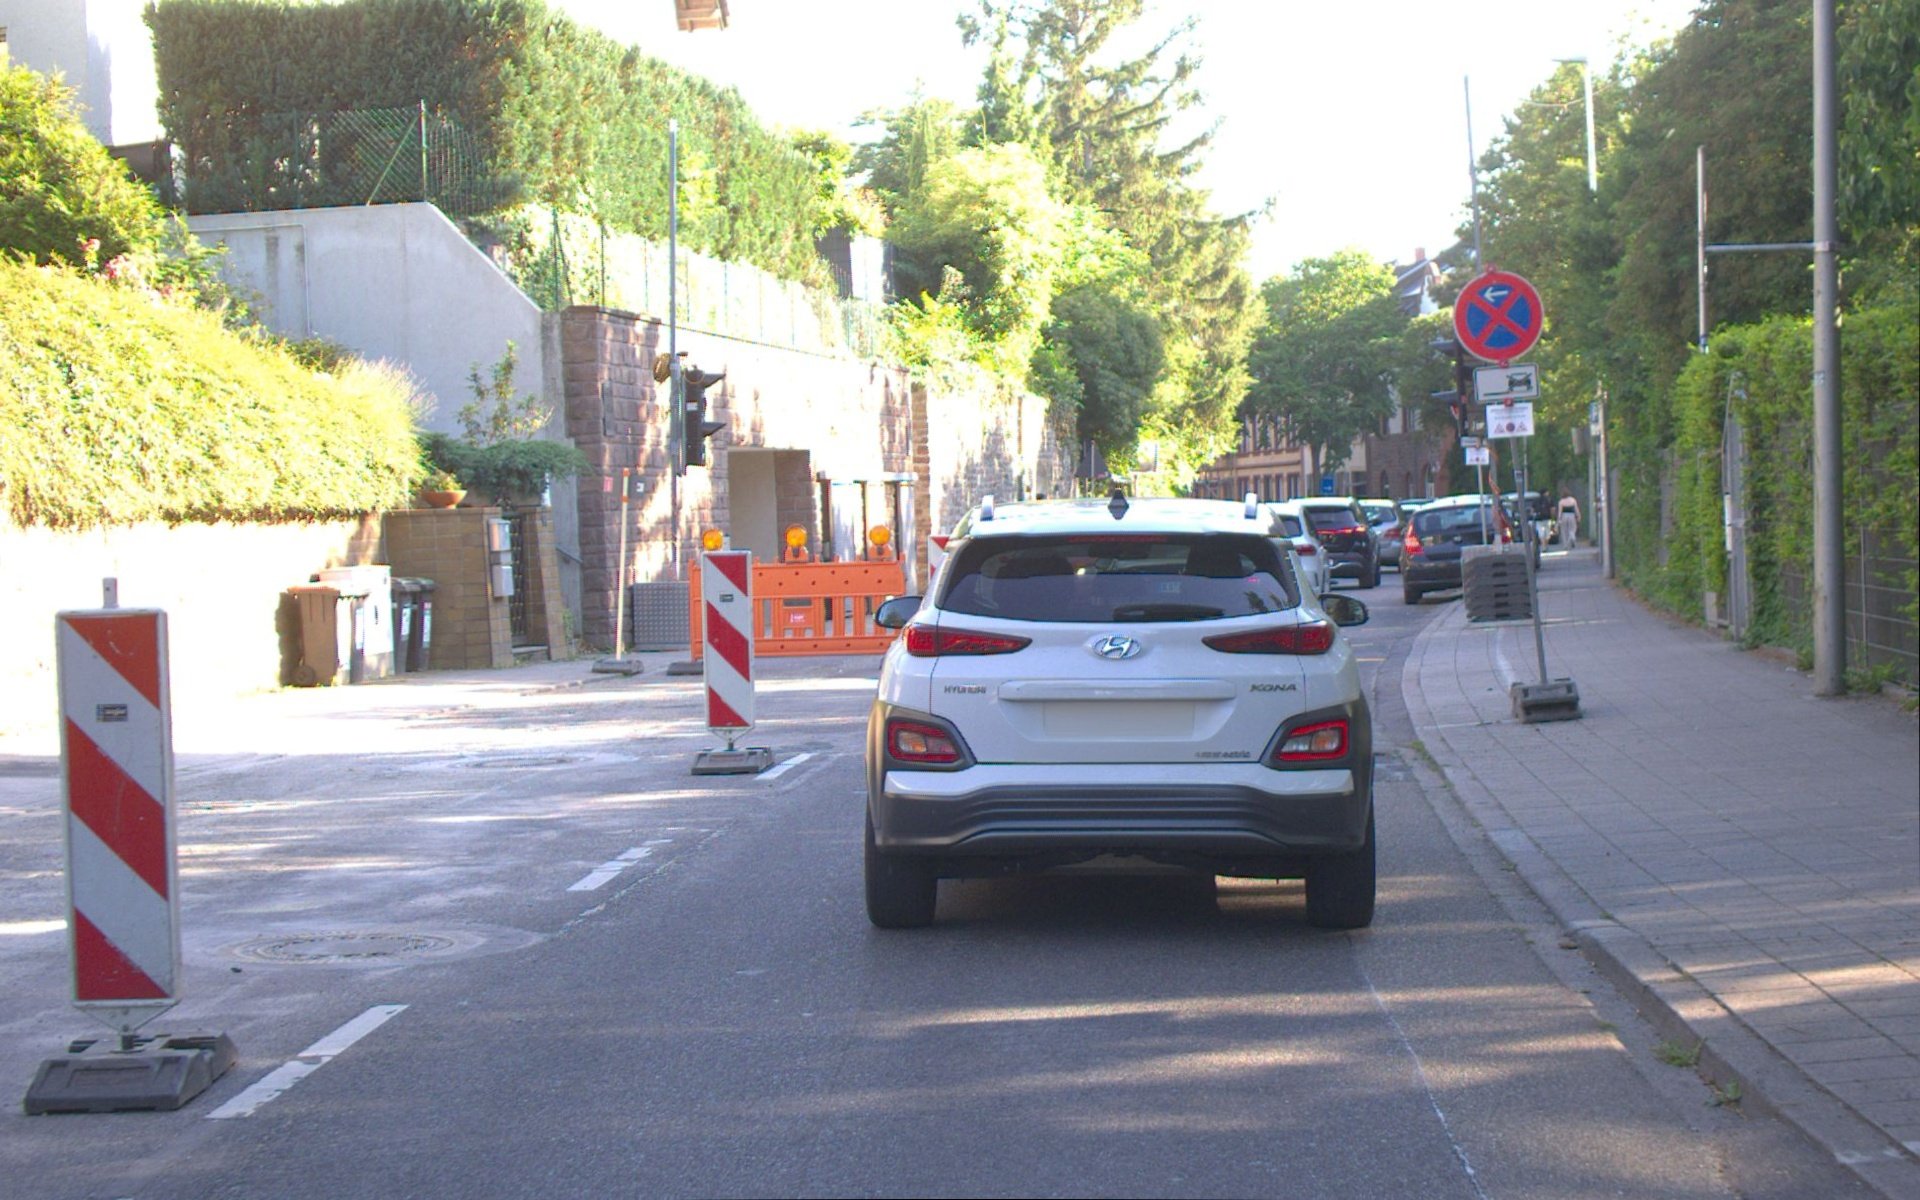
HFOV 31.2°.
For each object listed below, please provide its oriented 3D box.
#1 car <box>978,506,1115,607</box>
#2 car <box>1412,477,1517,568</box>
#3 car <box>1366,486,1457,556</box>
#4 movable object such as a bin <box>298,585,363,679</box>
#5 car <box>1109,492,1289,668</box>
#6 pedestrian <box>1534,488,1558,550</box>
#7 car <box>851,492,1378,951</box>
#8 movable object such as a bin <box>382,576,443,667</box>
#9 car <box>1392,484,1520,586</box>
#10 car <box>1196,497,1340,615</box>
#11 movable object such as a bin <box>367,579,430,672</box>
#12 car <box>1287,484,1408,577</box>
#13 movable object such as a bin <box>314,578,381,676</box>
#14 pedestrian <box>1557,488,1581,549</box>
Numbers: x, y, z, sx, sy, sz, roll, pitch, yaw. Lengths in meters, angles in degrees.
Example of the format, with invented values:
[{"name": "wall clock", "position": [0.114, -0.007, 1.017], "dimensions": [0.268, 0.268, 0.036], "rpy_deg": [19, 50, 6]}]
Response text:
[{"name": "car", "position": [1.340, -0.678, 52.037], "dimensions": [1.627, 1.417, 3.562], "rpy_deg": [-2, 1, 8]}, {"name": "car", "position": [9.086, -1.404, 61.802], "dimensions": [1.654, 1.558, 2.871], "rpy_deg": [-1, 2, 12]}, {"name": "car", "position": [9.870, -1.734, 75.000], "dimensions": [1.694, 1.442, 3.880], "rpy_deg": [-1, 2, 11]}, {"name": "movable object such as a bin", "position": [-5.728, 0.289, 31.282], "dimensions": [0.454, 0.831, 0.392], "rpy_deg": [-1, 1, 8]}, {"name": "car", "position": [2.309, -0.232, 32.590], "dimensions": [1.512, 1.527, 3.547], "rpy_deg": [-2, 2, 6]}, {"name": "pedestrian", "position": [15.371, -2.125, 90.124], "dimensions": [0.503, 1.601, 0.491], "rpy_deg": [-4, 1, 10]}, {"name": "car", "position": [0.688, 0.360, 13.570], "dimensions": [1.772, 1.537, 4.000], "rpy_deg": [0, 1, 5]}, {"name": "movable object such as a bin", "position": [-5.381, 0.207, 33.809], "dimensions": [0.456, 0.881, 0.500], "rpy_deg": [0, 2, 8]}, {"name": "car", "position": [7.504, -1.002, 51.773], "dimensions": [1.795, 1.436, 3.999], "rpy_deg": [-1, 2, 10]}, {"name": "car", "position": [4.094, -0.604, 45.296], "dimensions": [1.571, 1.472, 3.546], "rpy_deg": [0, 2, 10]}, {"name": "movable object such as a bin", "position": [-5.433, 0.241, 33.285], "dimensions": [0.456, 0.881, 0.500], "rpy_deg": [0, 2, 8]}, {"name": "car", "position": [6.875, -1.249, 60.722], "dimensions": [1.694, 1.527, 3.880], "rpy_deg": [-1, 2, 12]}, {"name": "movable object such as a bin", "position": [-5.656, 0.248, 31.746], "dimensions": [0.456, 0.881, 0.500], "rpy_deg": [0, 2, 8]}, {"name": "pedestrian", "position": [15.935, -2.145, 89.981], "dimensions": [0.503, 1.563, 0.503], "rpy_deg": [-4, 1, 10]}]
